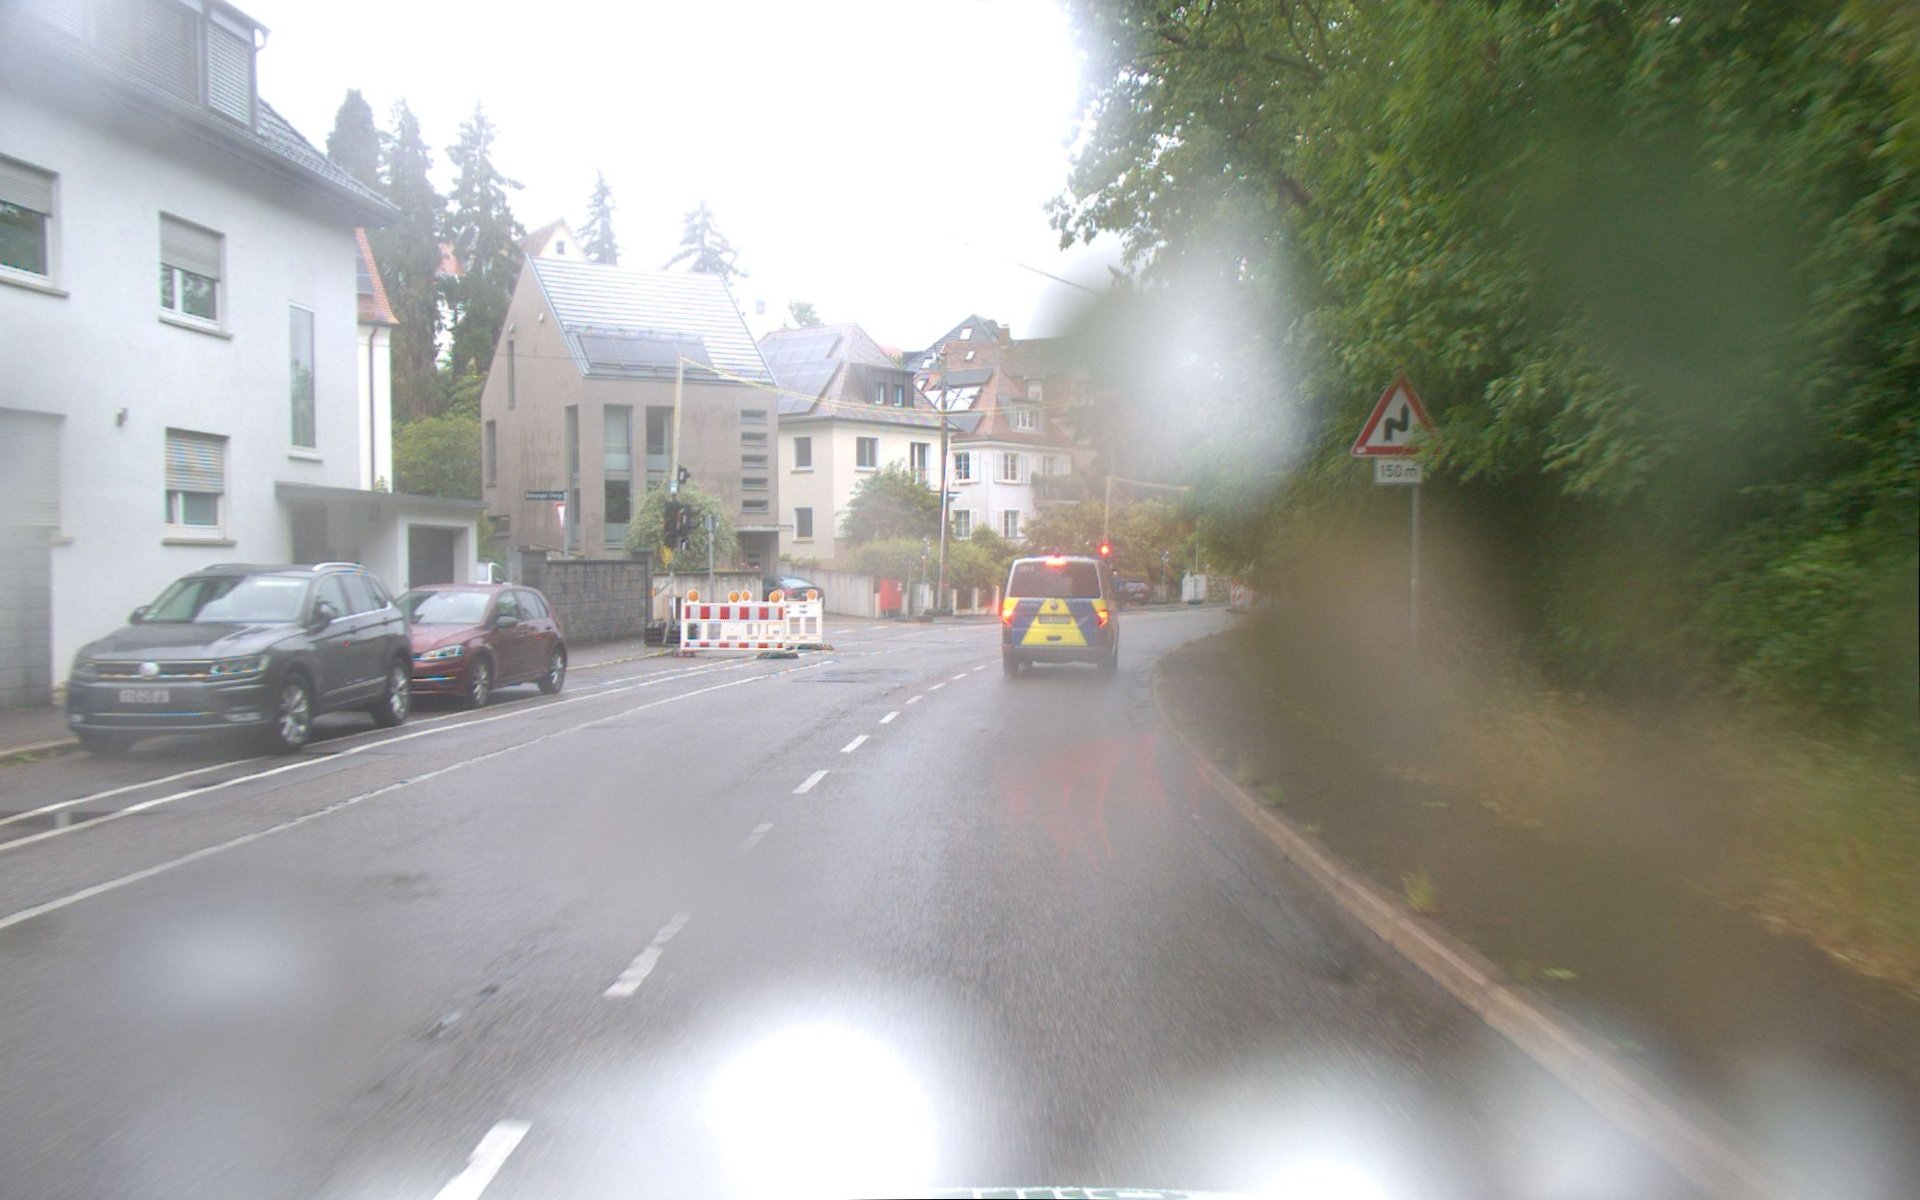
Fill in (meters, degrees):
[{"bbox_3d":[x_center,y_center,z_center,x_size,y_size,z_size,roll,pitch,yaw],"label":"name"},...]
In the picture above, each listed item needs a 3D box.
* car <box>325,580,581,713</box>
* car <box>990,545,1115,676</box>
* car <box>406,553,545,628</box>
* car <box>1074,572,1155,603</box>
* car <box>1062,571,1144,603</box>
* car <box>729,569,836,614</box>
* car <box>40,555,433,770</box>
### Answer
[{"bbox_3d":[-6.277,0.501,20.986,1.582,1.465,4.233,0,1,6],"label":"car"},{"bbox_3d":[1.680,0.189,28.854,1.951,2.049,4.404,2,0,5],"label":"car"},{"bbox_3d":[-10.150,-0.211,34.903,1.739,1.489,3.618,0,1,2],"label":"car"},{"bbox_3d":[8.340,-0.678,89.228,3.911,1.512,1.757,2,-1,28],"label":"car"},{"bbox_3d":[7.551,-0.689,87.222,3.911,1.512,1.757,2,-1,28],"label":"car"},{"bbox_3d":[-6.146,-0.316,56.901,1.822,1.469,3.943,0,2,-39],"label":"car"},{"bbox_3d":[-6.567,0.463,15.611,1.718,1.687,4.405,-2,1,0],"label":"car"}]
